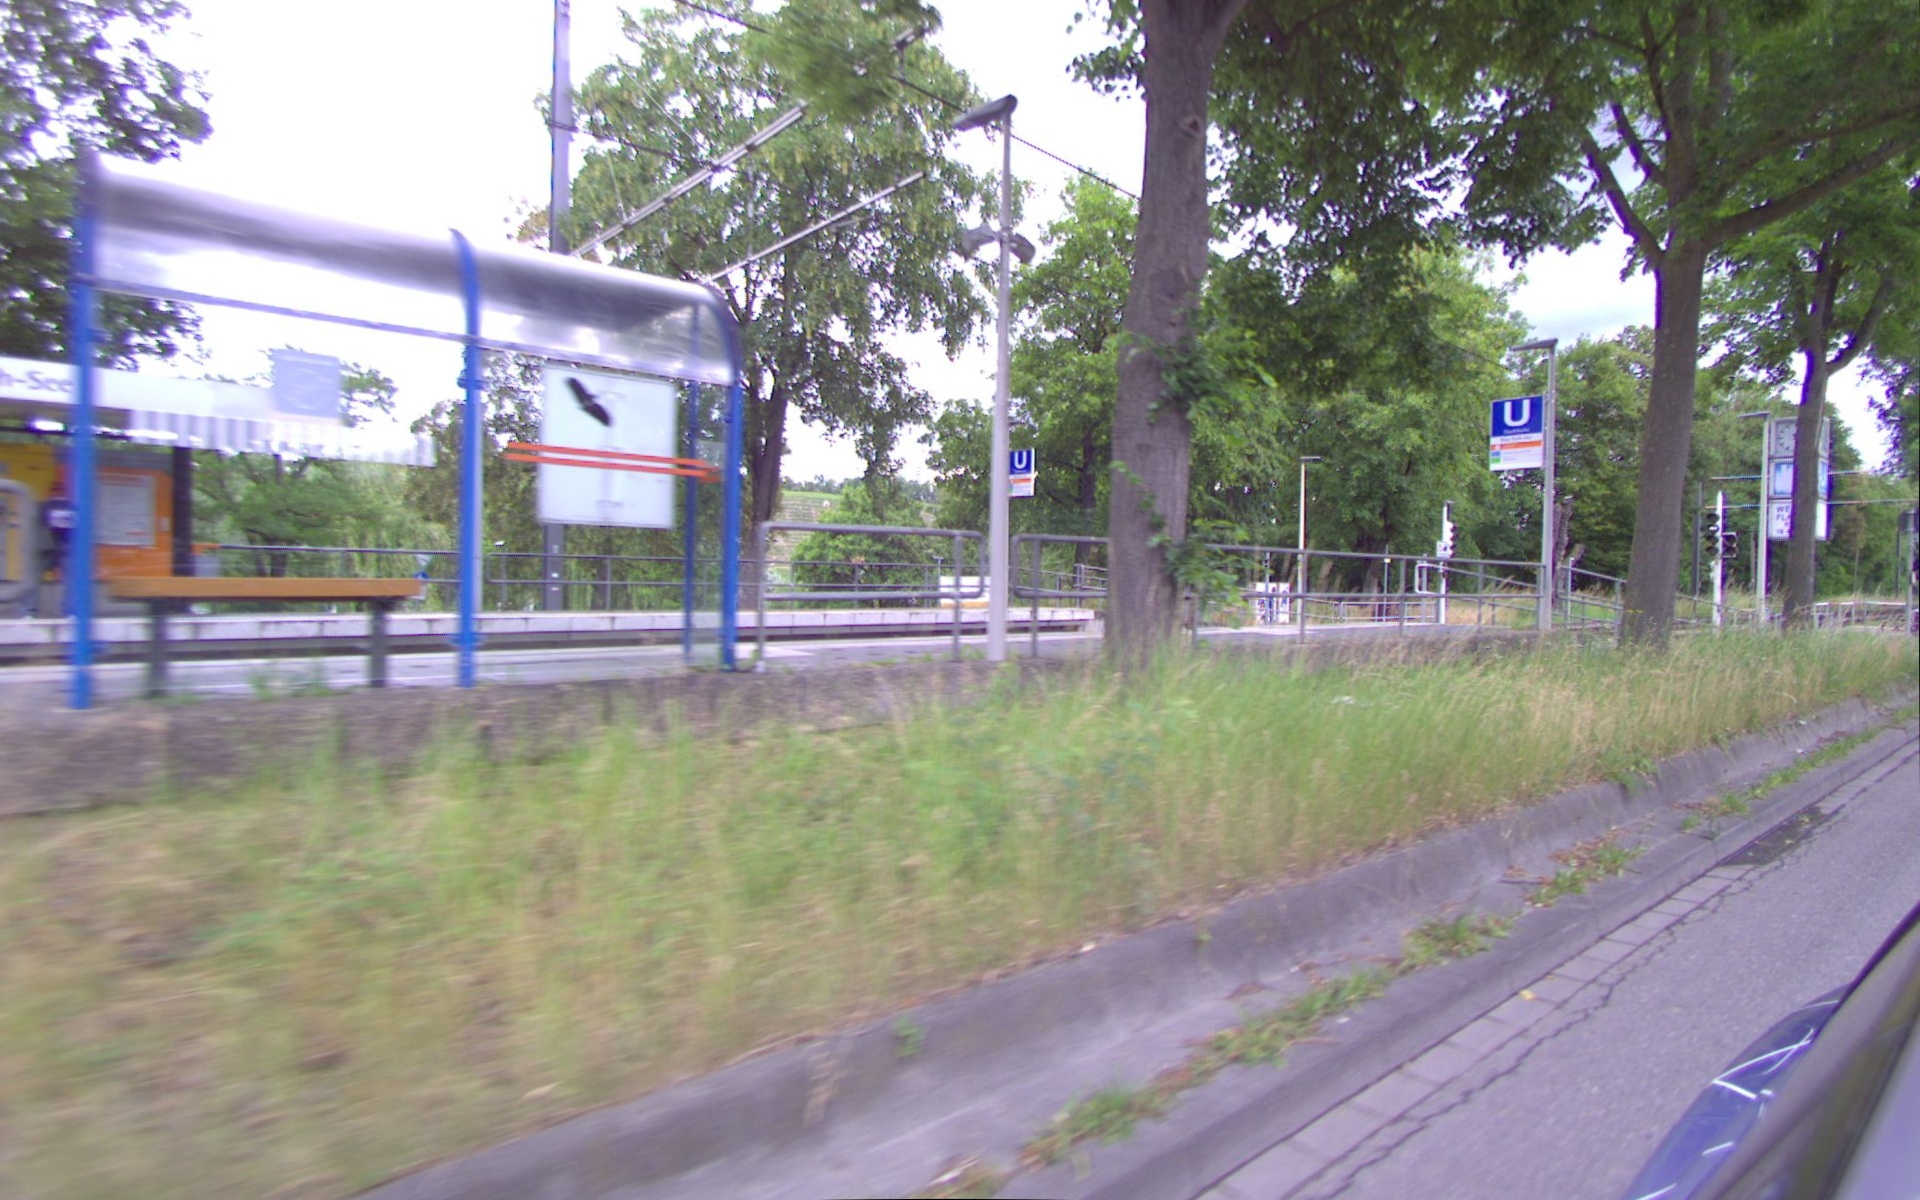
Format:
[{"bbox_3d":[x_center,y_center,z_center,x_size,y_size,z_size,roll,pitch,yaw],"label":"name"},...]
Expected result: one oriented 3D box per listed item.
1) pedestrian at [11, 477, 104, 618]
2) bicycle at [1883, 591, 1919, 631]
[{"bbox_3d":[-10.175,-0.573,11.431,0.710,1.530,0.720,-1,0,-37],"label":"pedestrian"},{"bbox_3d":[28.395,0.352,29.804,0.592,1.103,1.677,-1,5,-43],"label":"bicycle"}]
